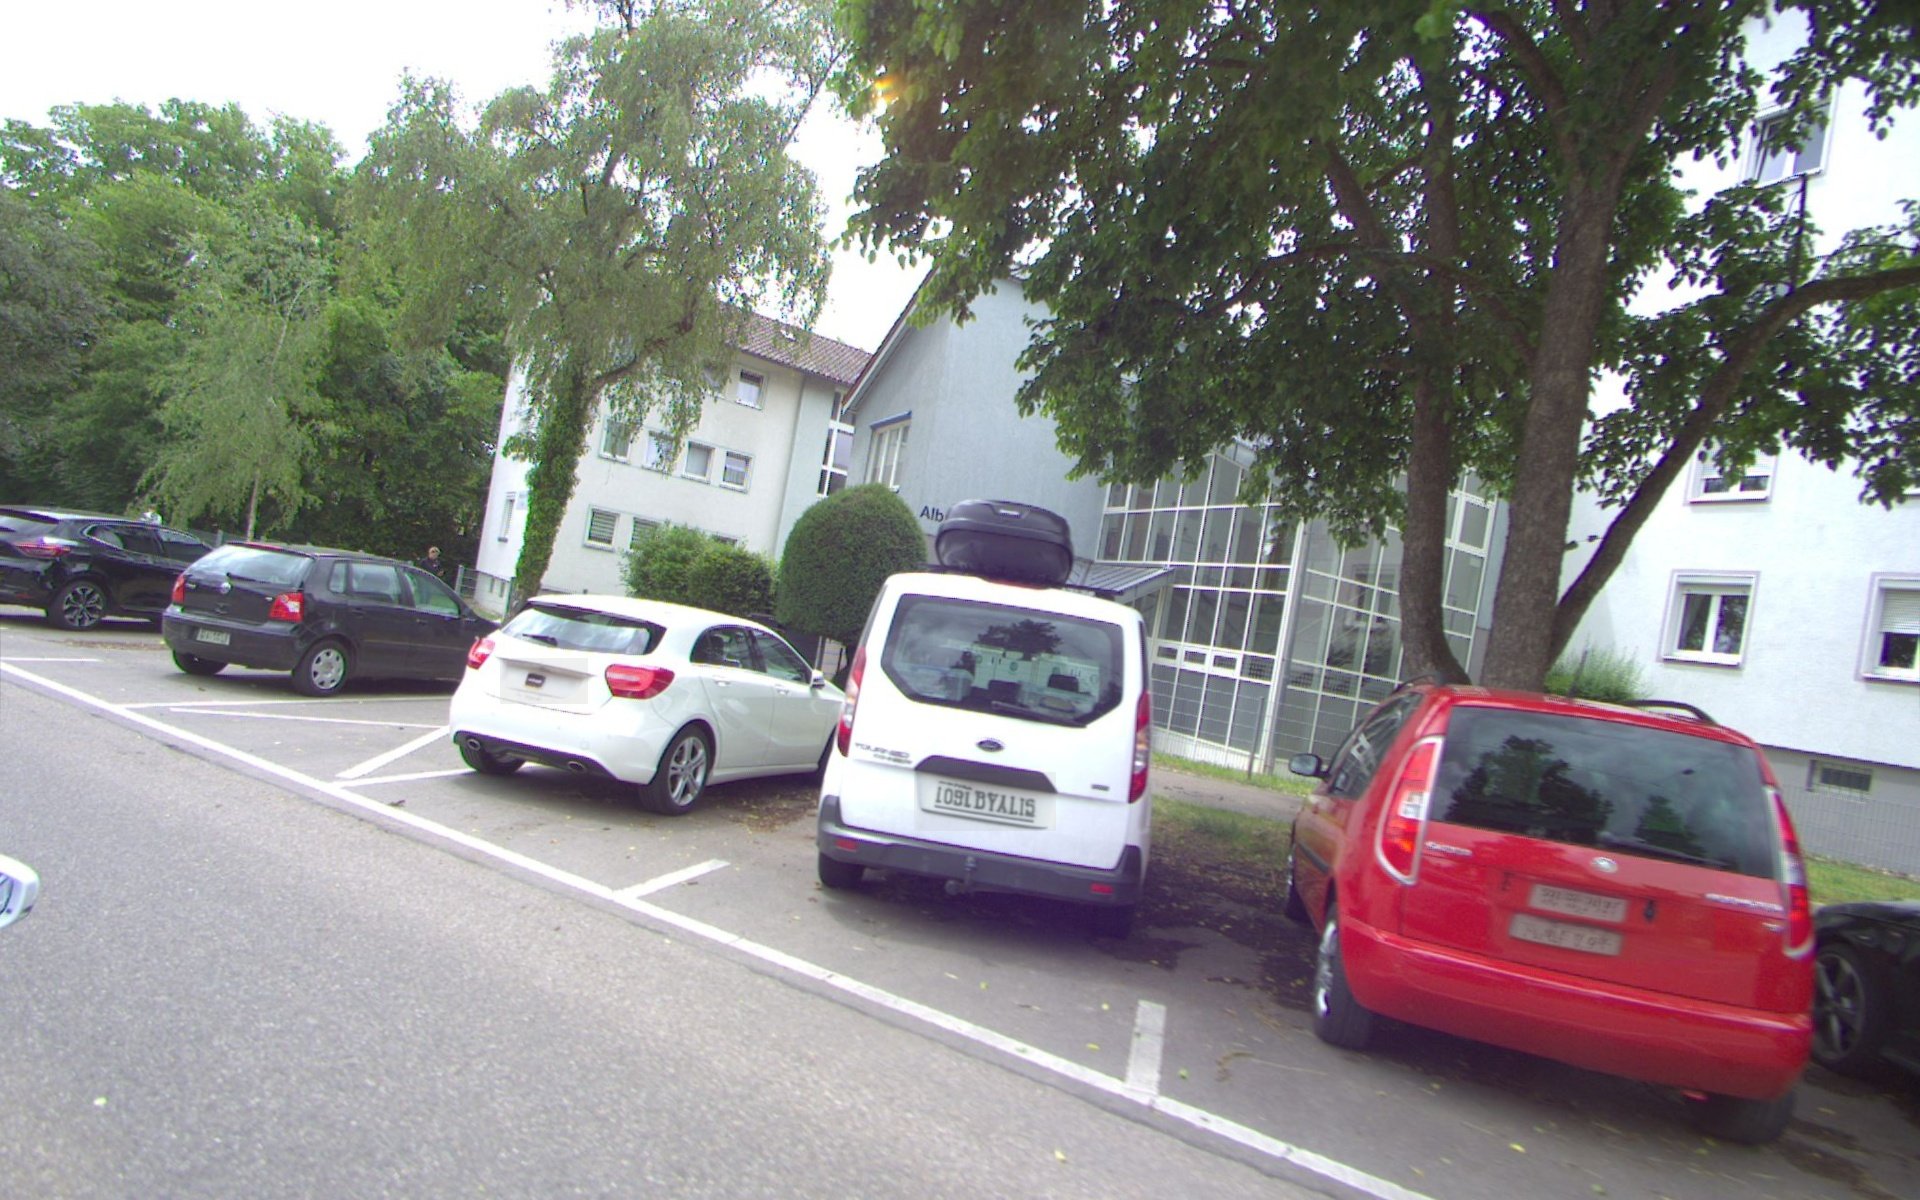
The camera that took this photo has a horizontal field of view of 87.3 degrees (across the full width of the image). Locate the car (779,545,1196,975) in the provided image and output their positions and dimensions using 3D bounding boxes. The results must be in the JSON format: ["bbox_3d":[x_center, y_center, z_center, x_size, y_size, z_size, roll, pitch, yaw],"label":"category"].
[{"bbox_3d":[0.289,0.889,6.860,1.753,1.773,4.106,9,-3,5],"label":"car"}]

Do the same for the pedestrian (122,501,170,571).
[{"bbox_3d":[-21.081,-1.664,26.055,0.732,1.690,0.650,7,-1,37],"label":"pedestrian"}]

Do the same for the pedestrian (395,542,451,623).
[{"bbox_3d":[-11.642,-0.371,21.811,0.732,1.622,0.650,7,-1,37],"label":"pedestrian"}]

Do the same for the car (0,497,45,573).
[{"bbox_3d":[-20.398,-1.561,19.244,1.710,1.465,3.904,8,-3,10],"label":"car"}]

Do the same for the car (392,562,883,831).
[{"bbox_3d":[-2.319,0.791,8.500,1.882,1.464,3.987,8,-3,16],"label":"car"}]

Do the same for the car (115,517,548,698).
[{"bbox_3d":[-6.734,0.223,11.383,1.809,1.464,3.905,8,-3,12],"label":"car"}]

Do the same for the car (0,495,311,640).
[{"bbox_3d":[-11.142,-0.388,13.503,1.809,1.464,3.904,8,-3,8],"label":"car"}]

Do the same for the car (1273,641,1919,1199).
[{"bbox_3d":[2.836,1.290,5.385,1.849,1.637,4.018,8,-3,16],"label":"car"}]

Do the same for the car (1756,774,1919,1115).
[{"bbox_3d":[5.036,1.646,3.614,1.723,1.420,4.049,9,-3,14],"label":"car"}]
